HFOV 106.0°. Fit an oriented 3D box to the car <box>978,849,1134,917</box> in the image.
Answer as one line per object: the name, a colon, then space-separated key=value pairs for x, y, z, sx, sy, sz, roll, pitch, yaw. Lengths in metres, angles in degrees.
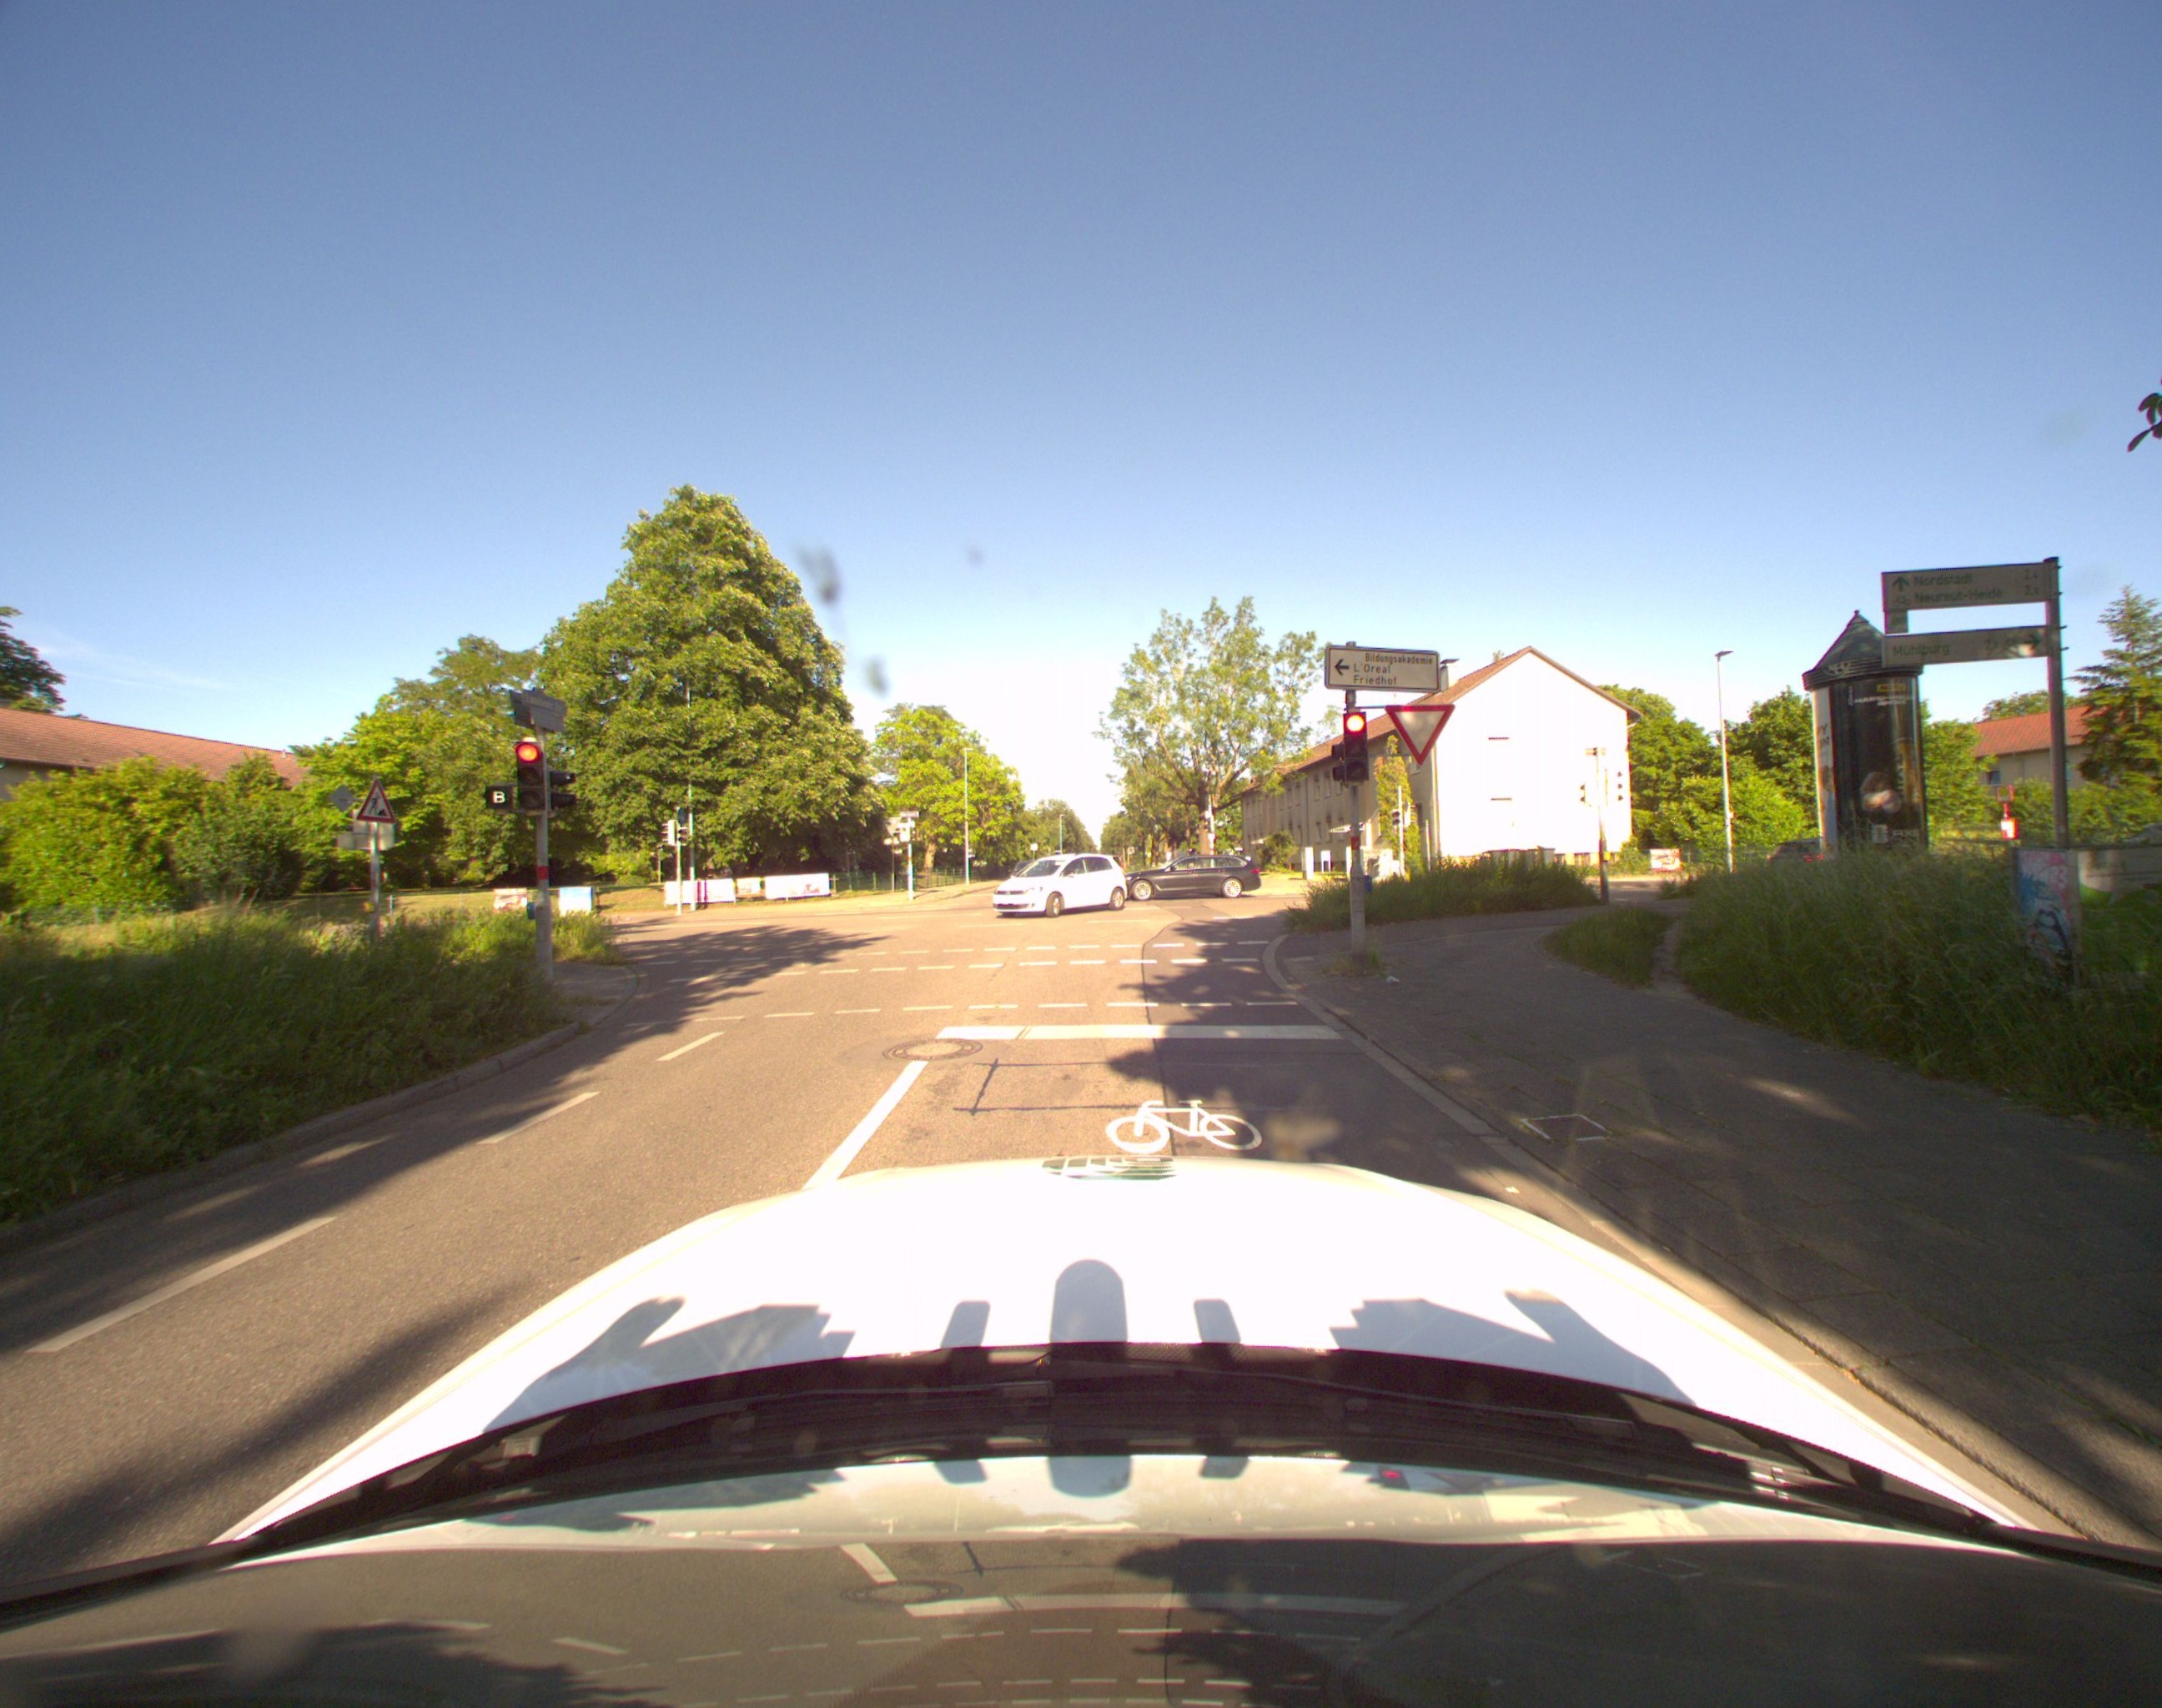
car: x=-0.570 y=0.714 z=21.600 sx=1.735 sy=1.563 sz=4.146 roll=-3 pitch=-1 yaw=41

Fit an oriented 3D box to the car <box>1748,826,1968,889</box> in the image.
car: x=21.373 y=0.095 z=22.527 sx=4.270 sy=1.489 sz=1.913 roll=-2 pitch=0 yaw=-1

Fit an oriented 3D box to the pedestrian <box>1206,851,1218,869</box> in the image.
pedestrian: x=10.490 y=0.475 z=65.243 sx=0.839 sy=1.493 sz=0.924 roll=1 pitch=0 yaw=1

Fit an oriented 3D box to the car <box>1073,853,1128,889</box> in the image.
car: x=0.872 y=0.771 z=38.437 sx=1.753 sy=1.582 sz=3.984 roll=0 pitch=-1 yaw=-12

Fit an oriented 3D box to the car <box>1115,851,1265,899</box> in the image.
car: x=3.579 y=0.673 z=27.323 sx=4.715 sy=1.430 sz=1.999 roll=-2 pitch=0 yaw=-2

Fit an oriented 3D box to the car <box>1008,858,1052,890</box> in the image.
car: x=-2.379 y=0.916 z=38.828 sx=1.704 sy=1.385 sz=3.473 roll=-2 pitch=0 yaw=3
